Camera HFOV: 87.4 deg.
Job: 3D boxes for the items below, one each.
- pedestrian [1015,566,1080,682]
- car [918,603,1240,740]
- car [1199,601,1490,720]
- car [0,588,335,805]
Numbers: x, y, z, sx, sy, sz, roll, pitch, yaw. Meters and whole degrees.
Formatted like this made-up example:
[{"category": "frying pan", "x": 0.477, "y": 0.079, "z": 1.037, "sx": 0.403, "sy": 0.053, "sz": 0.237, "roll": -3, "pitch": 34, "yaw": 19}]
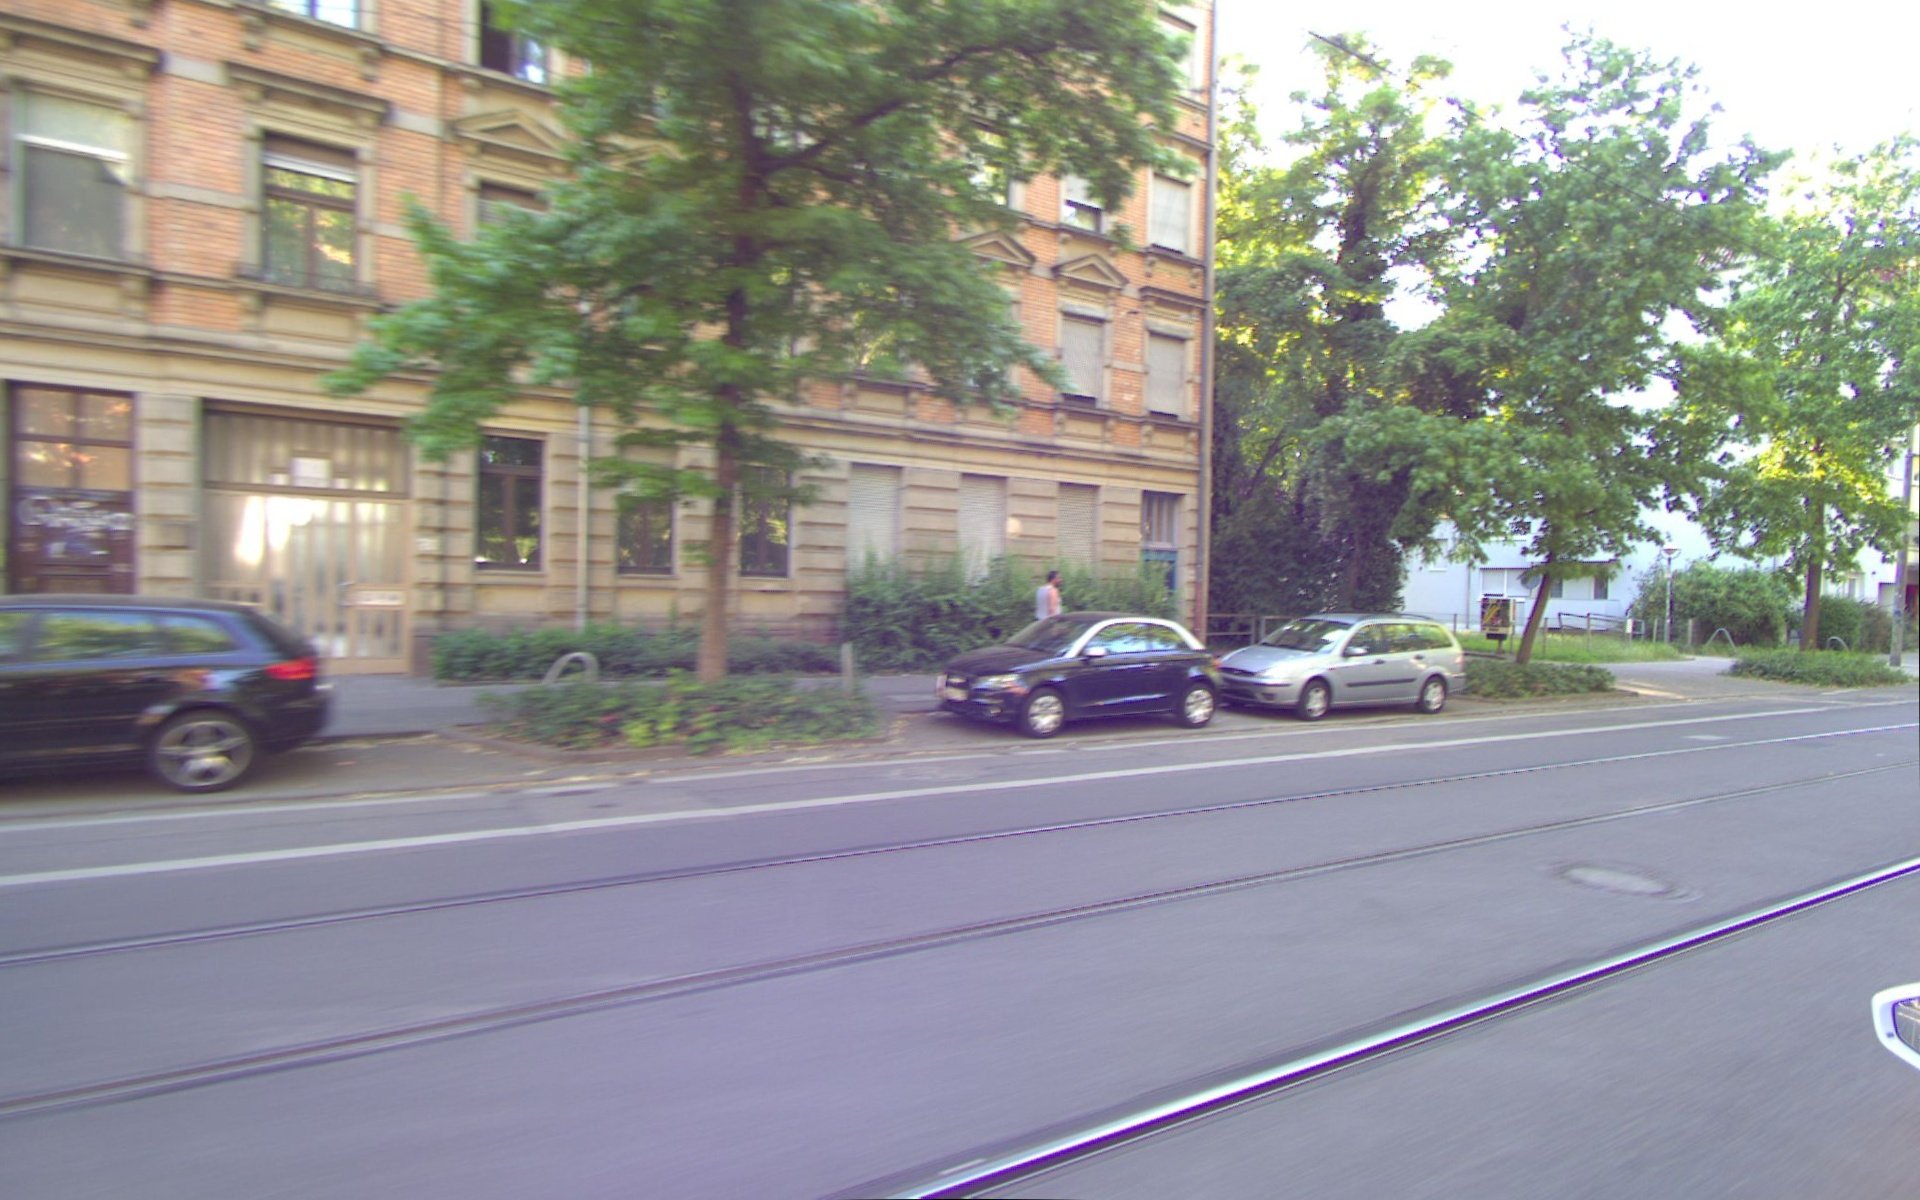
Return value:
[{"category": "pedestrian", "x": 1.446, "y": 0.381, "z": 16.716, "sx": 0.721, "sy": 1.872, "sz": 0.737, "roll": 1, "pitch": 2, "yaw": -33}, {"category": "car", "x": 1.573, "y": 0.821, "z": 12.842, "sx": 3.905, "sy": 1.464, "sz": 1.649, "roll": 1, "pitch": 1, "yaw": -32}, {"category": "car", "x": 6.014, "y": 0.866, "z": 15.583, "sx": 4.479, "sy": 1.571, "sz": 1.692, "roll": 1, "pitch": 1, "yaw": -28}, {"category": "car", "x": -7.225, "y": 0.654, "z": 7.596, "sx": 4.223, "sy": 1.478, "sz": 1.842, "roll": 1, "pitch": 0, "yaw": -33}]
